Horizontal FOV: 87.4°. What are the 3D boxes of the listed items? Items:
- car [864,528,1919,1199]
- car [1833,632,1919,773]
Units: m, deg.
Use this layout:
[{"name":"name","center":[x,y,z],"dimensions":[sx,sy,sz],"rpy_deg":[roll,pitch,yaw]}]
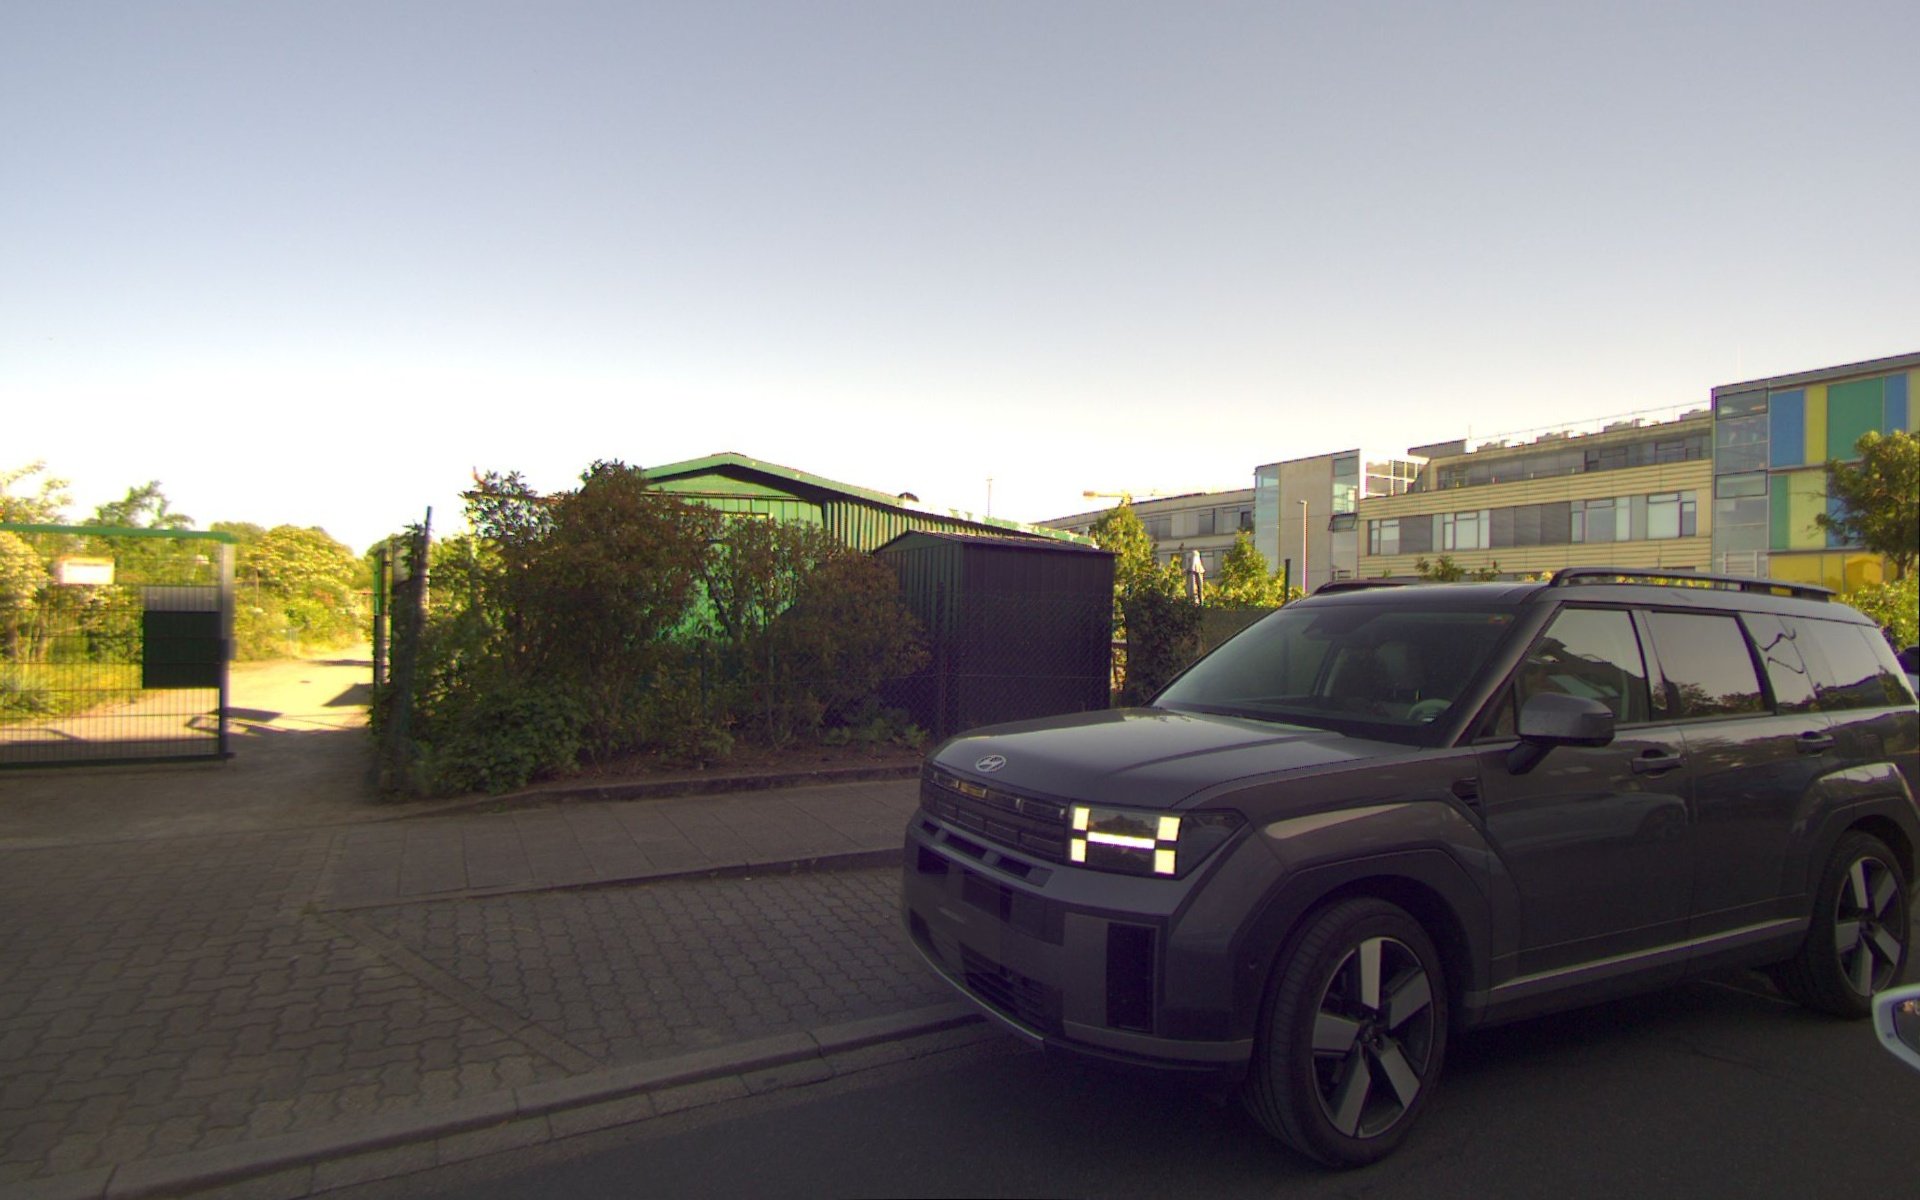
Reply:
[{"name":"car","center":[2.163,0.764,4.330],"dimensions":[4.774,1.750,1.936],"rpy_deg":[1,-1,-26]},{"name":"car","center":[12.234,1.152,11.636],"dimensions":[4.485,1.465,1.739],"rpy_deg":[1,1,-29]}]
